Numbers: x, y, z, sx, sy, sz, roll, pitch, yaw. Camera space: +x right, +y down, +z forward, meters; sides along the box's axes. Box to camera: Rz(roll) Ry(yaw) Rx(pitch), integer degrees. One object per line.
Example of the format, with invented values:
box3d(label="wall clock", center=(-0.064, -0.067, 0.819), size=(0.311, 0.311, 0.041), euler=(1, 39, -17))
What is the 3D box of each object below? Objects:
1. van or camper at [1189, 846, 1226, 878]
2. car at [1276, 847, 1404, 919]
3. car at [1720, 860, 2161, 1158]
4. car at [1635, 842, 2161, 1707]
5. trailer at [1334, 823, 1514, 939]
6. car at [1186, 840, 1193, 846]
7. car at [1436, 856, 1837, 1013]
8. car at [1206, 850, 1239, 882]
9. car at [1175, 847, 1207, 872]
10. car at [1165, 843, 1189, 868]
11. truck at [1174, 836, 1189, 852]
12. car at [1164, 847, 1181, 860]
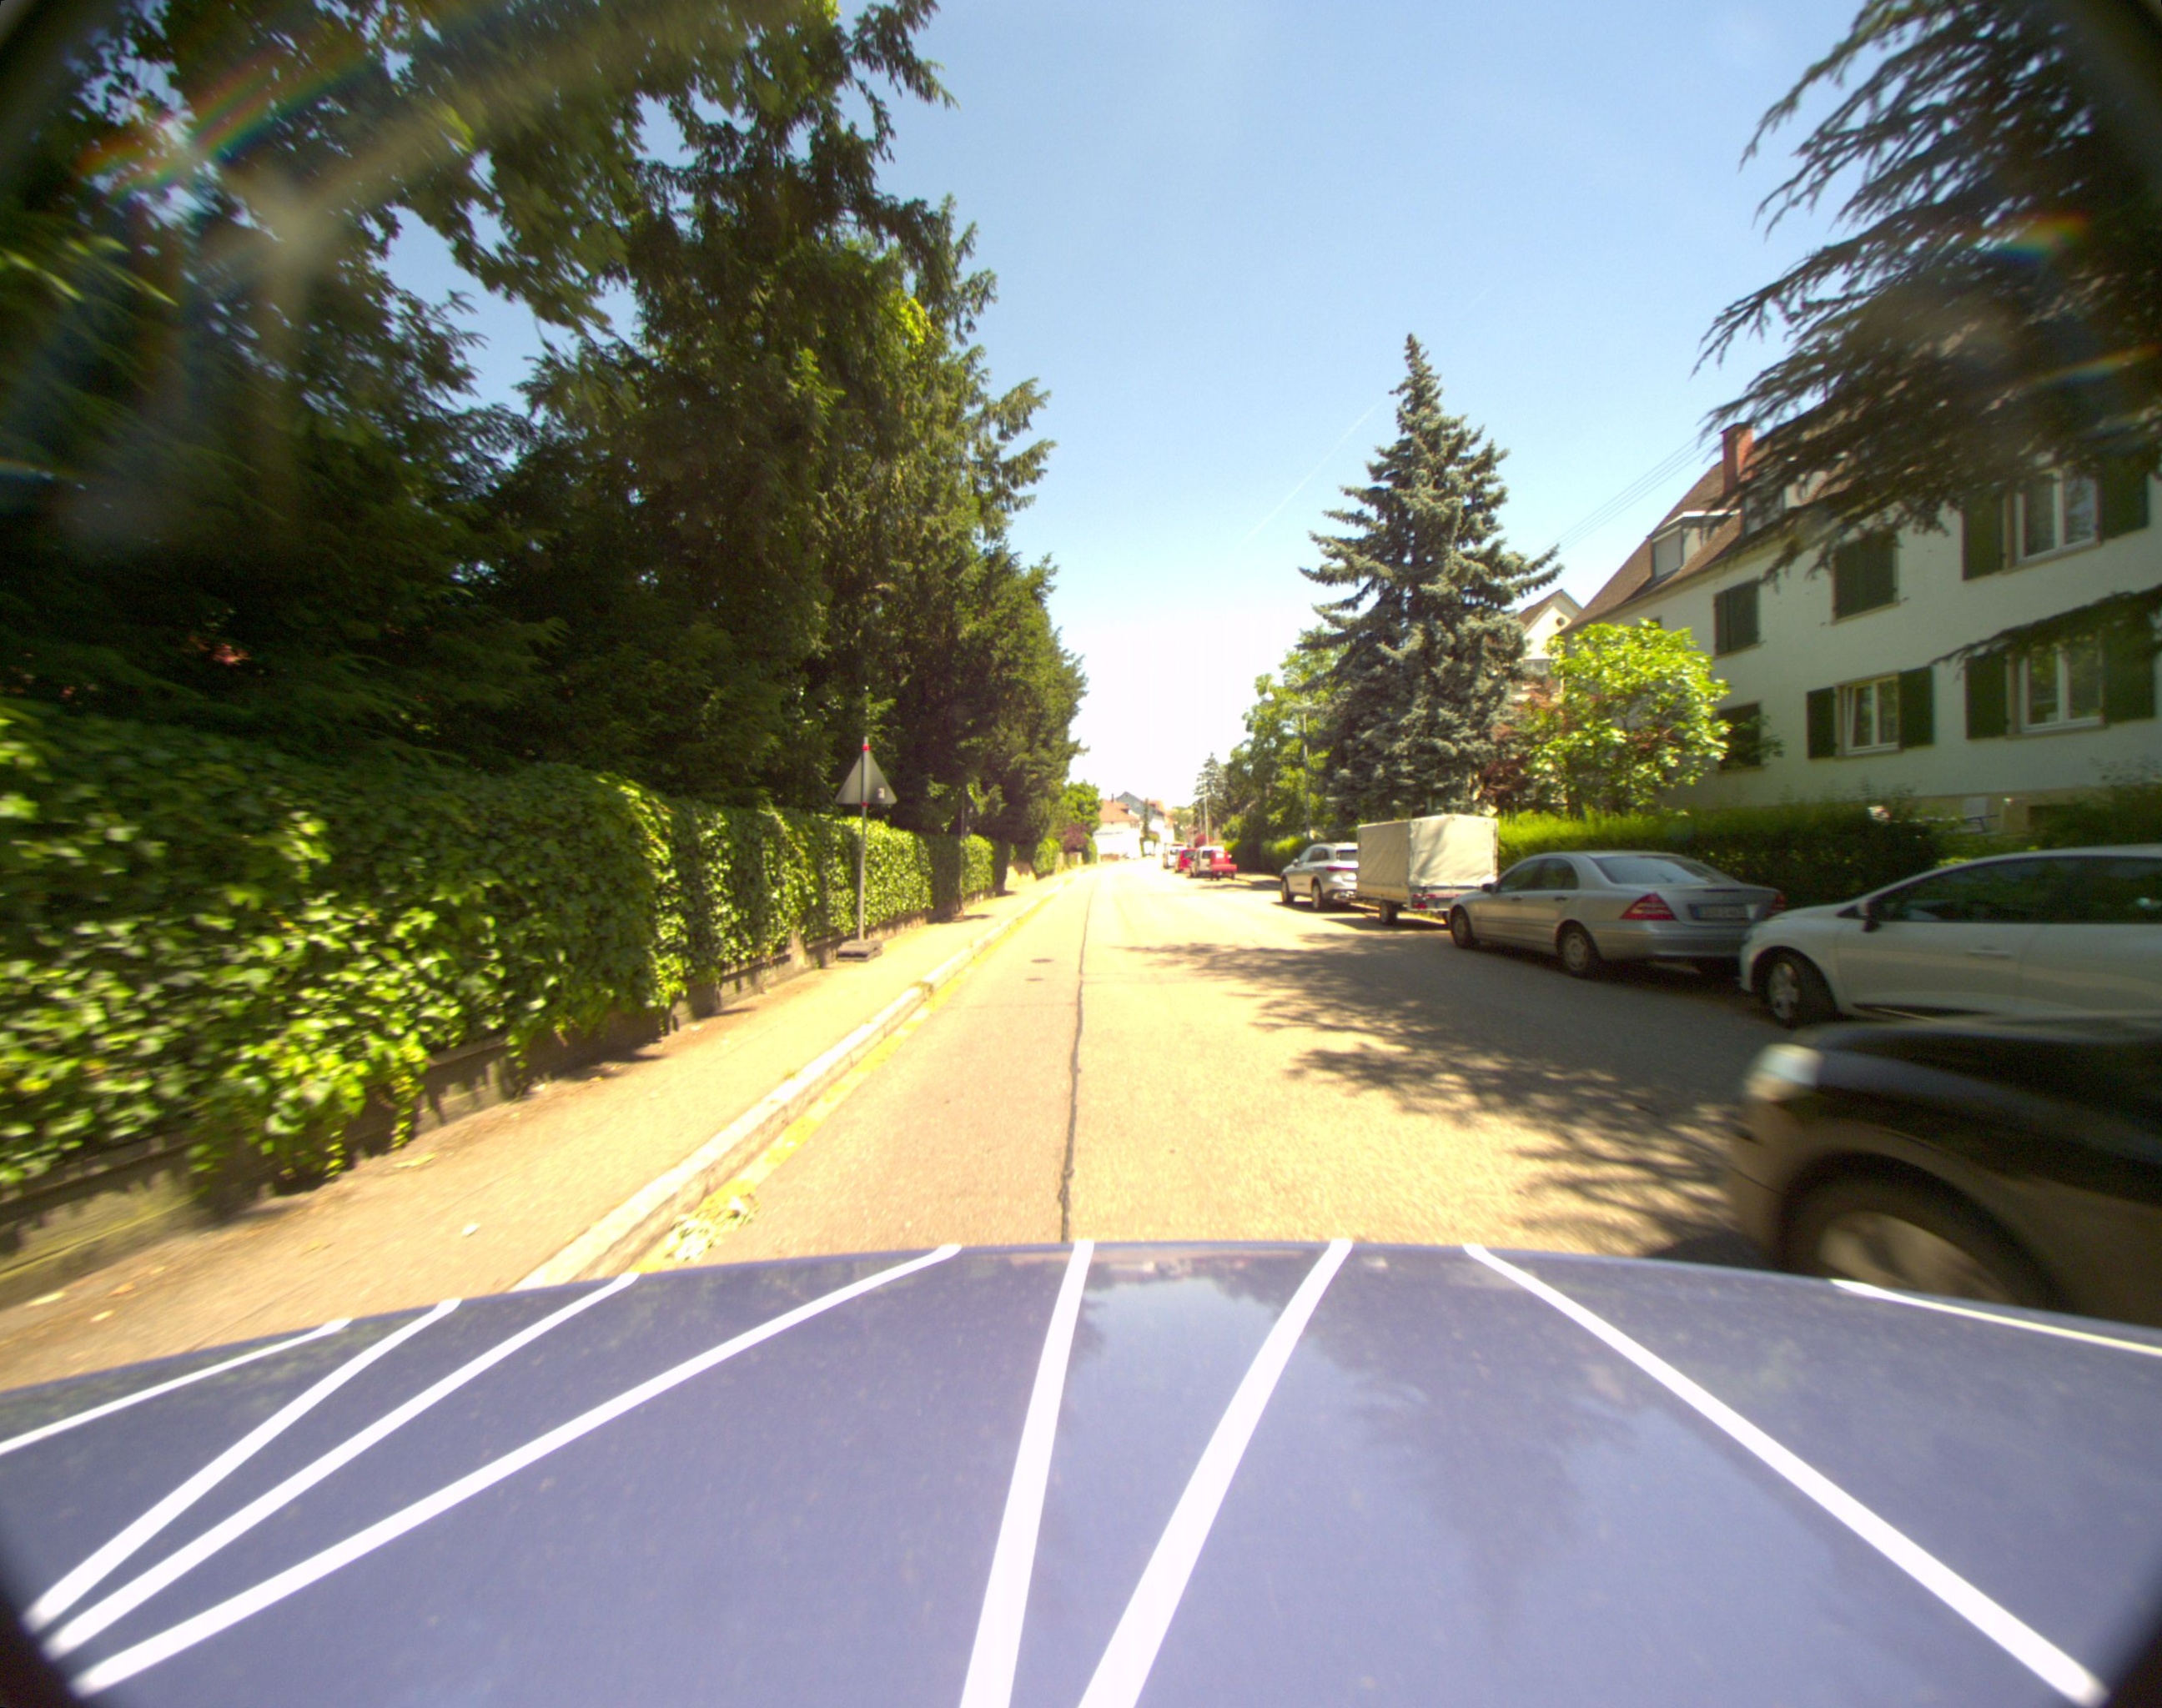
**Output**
box3d(label="van or camper", center=(7.240, 0.434, 43.812), size=(1.583, 1.760, 3.889), euler=(-1, 0, 2))
box3d(label="car", center=(6.468, 0.640, 19.535), size=(1.773, 1.610, 4.548), euler=(0, 0, 0))
box3d(label="car", center=(6.360, 0.797, 4.584), size=(1.801, 1.434, 3.896), euler=(-1, 1, 1))
box3d(label="car", center=(2.854, 0.783, 0.475), size=(1.904, 1.565, 4.140), euler=(-2, 1, -2))
box3d(label="trailer", center=(6.640, 0.455, 15.245), size=(1.819, 2.021, 4.000), euler=(0, 1, 0))
box3d(label="car", center=(31.671, -3.061, 221.639), size=(1.891, 1.726, 4.003), euler=(0, 1, 14))
box3d(label="car", center=(6.324, 0.772, 9.461), size=(1.801, 1.434, 4.476), euler=(-1, 1, 1))
box3d(label="car", center=(7.215, 0.573, 38.826), size=(1.308, 1.568, 2.321), euler=(-1, 0, 2))
box3d(label="car", center=(7.745, 0.351, 53.641), size=(1.893, 1.749, 3.612), euler=(0, 1, 3))
box3d(label="car", center=(8.434, 0.098, 66.976), size=(1.893, 2.103, 3.999), euler=(0, 1, 3))
box3d(label="truck", center=(19.130, -1.924, 144.803), size=(2.225, 2.915, 6.729), euler=(0, 1, 13))
box3d(label="car", center=(11.494, -0.043, 95.351), size=(1.893, 1.628, 3.999), euler=(0, 1, 3))
